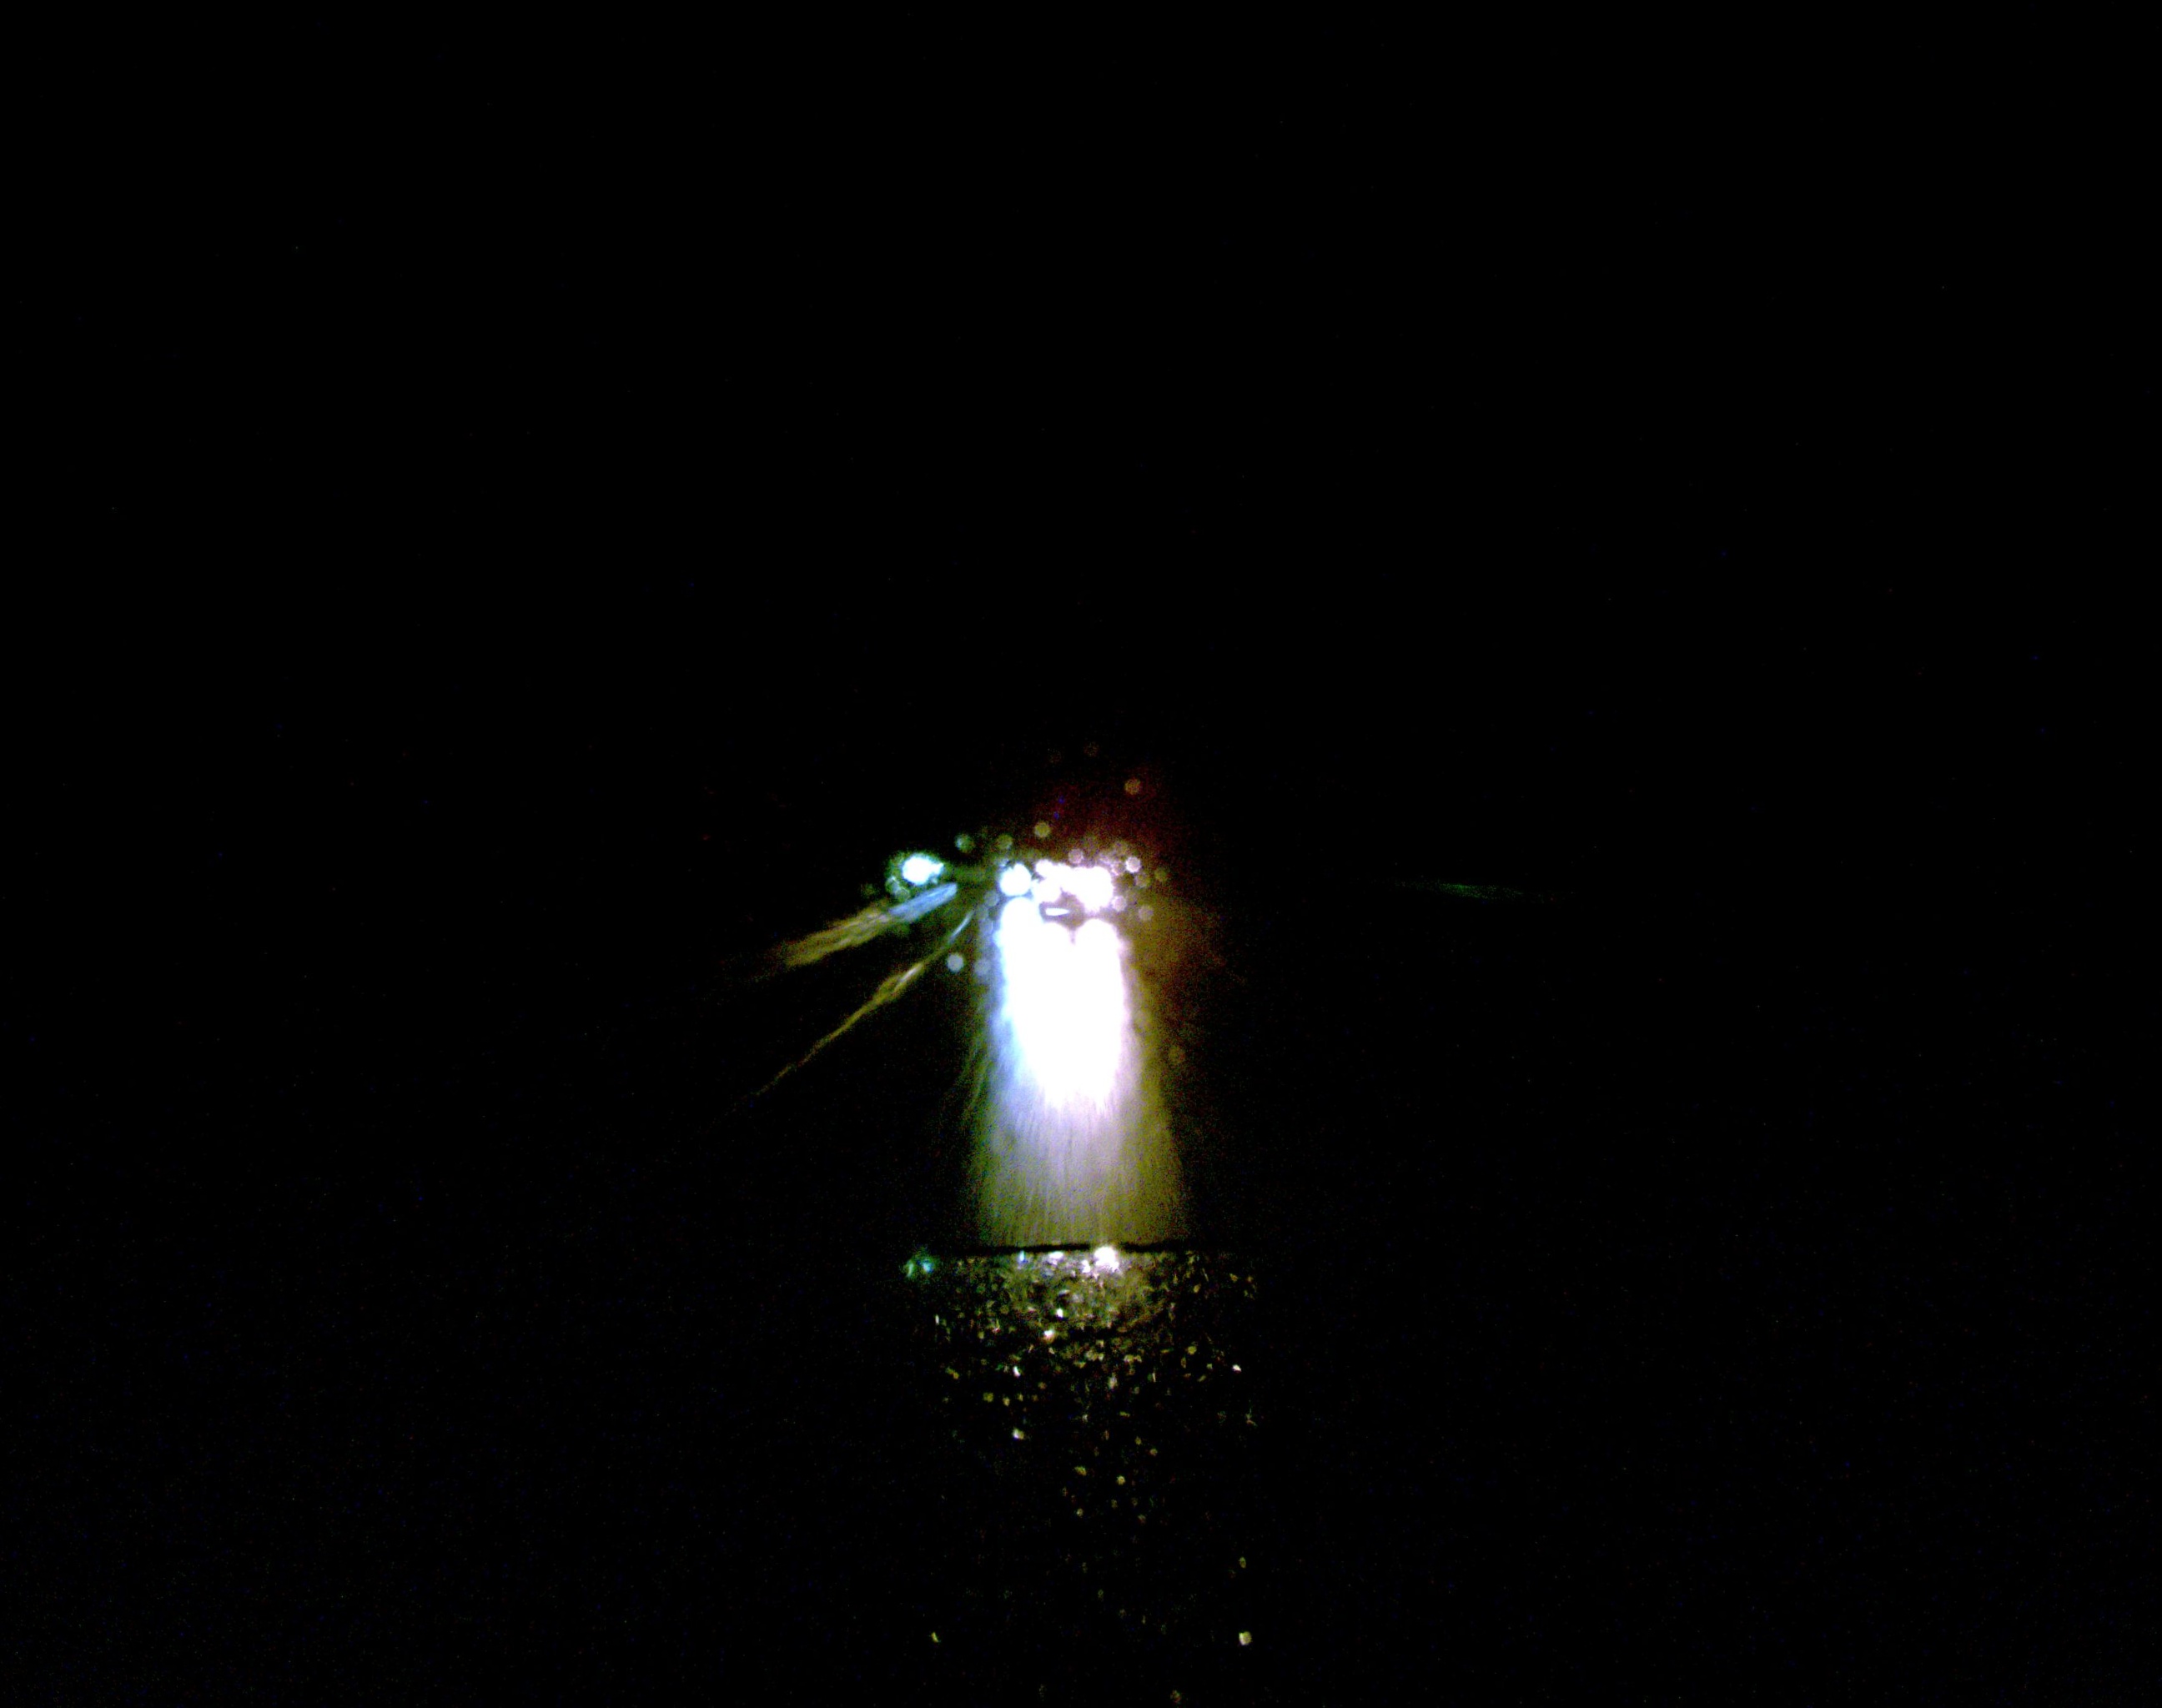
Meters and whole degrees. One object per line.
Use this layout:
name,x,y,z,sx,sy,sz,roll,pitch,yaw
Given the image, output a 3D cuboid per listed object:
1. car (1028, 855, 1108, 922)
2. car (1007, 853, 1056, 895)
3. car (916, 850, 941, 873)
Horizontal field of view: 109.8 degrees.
car,-0.454,0.867,21.007,1.850,1.441,3.997,-3,2,-5
car,-2.073,0.800,32.281,1.849,1.441,3.873,-3,2,-3
car,-12.553,0.558,62.329,1.786,1.696,3.994,-4,2,-13
